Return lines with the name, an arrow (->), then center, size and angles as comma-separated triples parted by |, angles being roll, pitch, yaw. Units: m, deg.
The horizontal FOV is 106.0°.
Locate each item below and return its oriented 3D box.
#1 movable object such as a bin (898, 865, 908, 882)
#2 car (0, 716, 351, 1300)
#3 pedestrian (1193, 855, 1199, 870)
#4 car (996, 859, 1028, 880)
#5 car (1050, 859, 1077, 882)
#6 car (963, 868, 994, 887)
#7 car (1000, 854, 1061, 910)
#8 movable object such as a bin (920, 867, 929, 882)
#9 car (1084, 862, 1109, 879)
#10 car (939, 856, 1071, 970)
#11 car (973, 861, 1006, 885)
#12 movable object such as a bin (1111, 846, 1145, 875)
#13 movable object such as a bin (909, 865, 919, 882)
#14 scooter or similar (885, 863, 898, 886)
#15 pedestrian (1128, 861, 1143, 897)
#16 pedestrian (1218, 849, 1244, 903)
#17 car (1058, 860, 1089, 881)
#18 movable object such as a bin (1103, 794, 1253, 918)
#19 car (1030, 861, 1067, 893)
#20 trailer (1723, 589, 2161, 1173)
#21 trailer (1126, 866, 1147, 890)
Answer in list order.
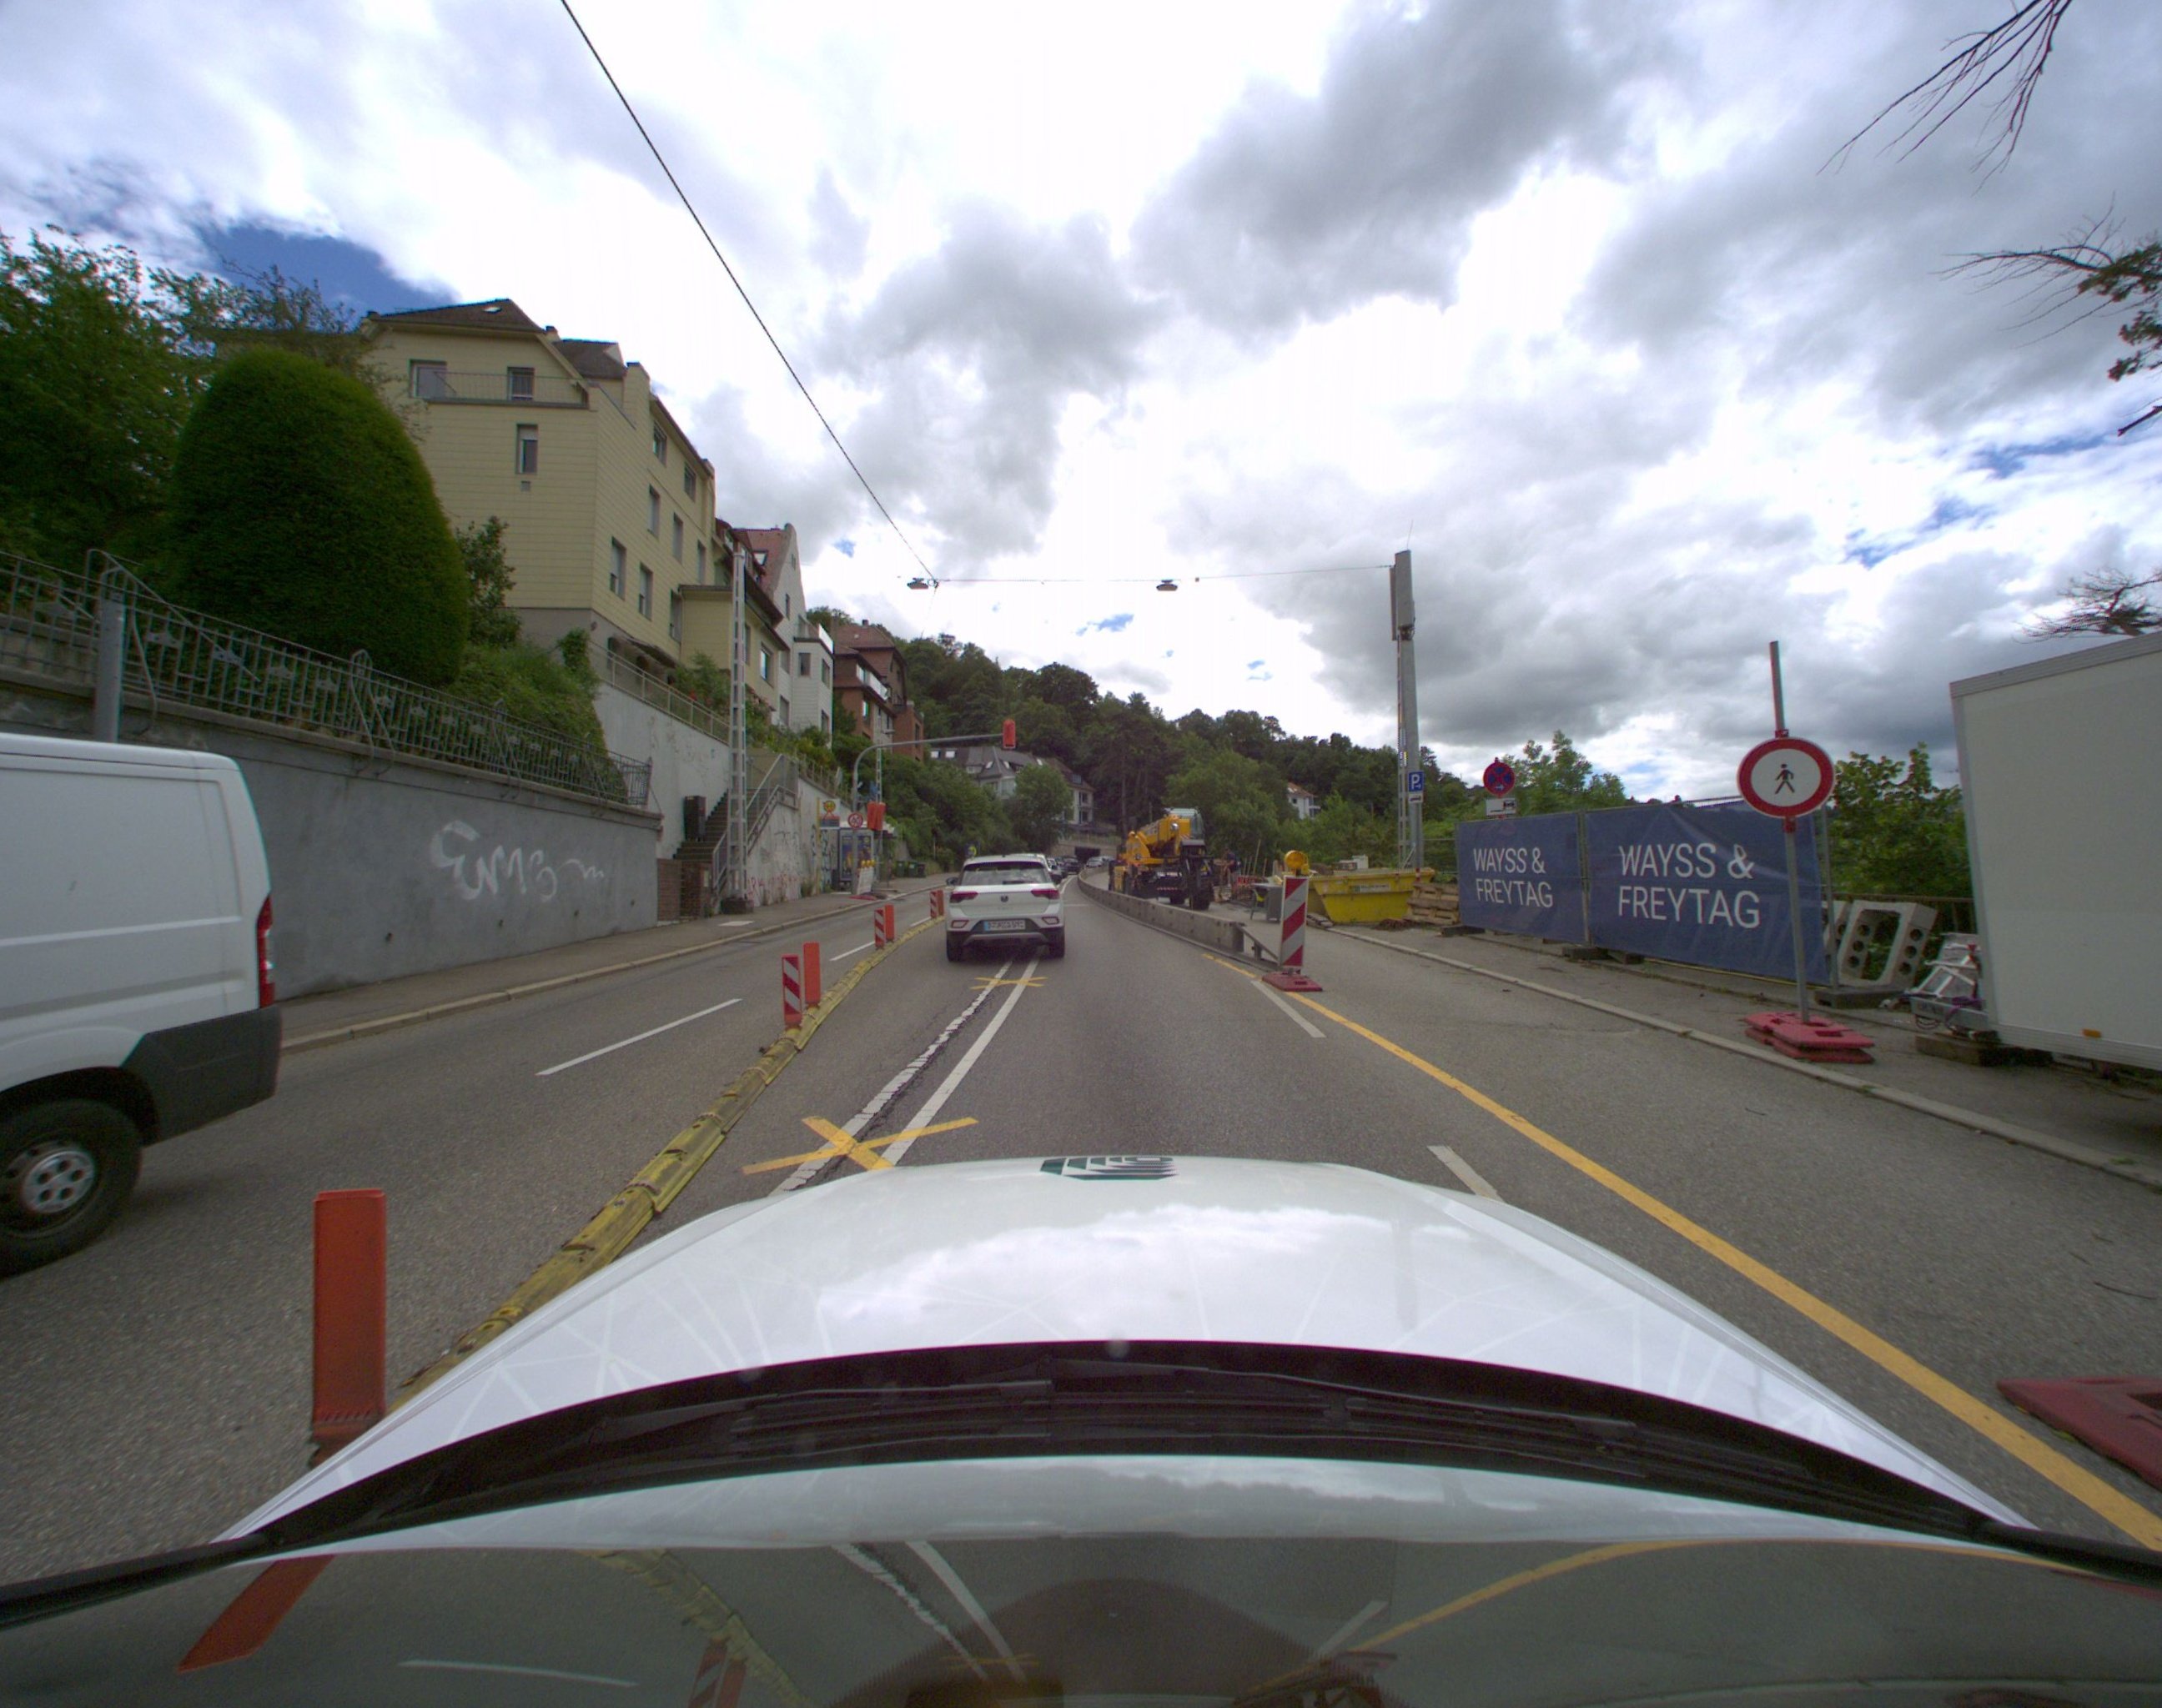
movable object such as a bin -> -11.008, 1.198, 50.363 | 0.466, 1.053, 0.624 | 1, -1, -2
car -> -5.077, 0.614, 2.006 | 2.061, 2.187, 4.959 | -3, -1, -2
pedestrian -> 14.679, 1.055, 104.332 | 0.686, 1.906, 0.827 | -2, -1, 8
car -> -5.472, 1.216, 64.930 | 1.833, 1.600, 4.268 | -1, -1, 4
car -> -1.218, 1.178, 58.642 | 1.788, 1.510, 3.999 | -2, -1, 0
car -> -8.569, 1.946, 68.100 | 1.786, 1.510, 4.004 | 1, -1, 4
car -> -1.641, 0.895, 27.146 | 1.805, 1.663, 3.996 | -2, -1, -3
movable object such as a bin -> -9.698, 1.268, 50.426 | 0.466, 0.934, 0.624 | 1, -1, -2
car -> 1.675, 1.681, 85.659 | 1.798, 1.663, 4.013 | -3, -1, 12
car -> -1.248, 0.867, 13.523 | 1.807, 1.531, 3.992 | -2, -1, -5
car -> -5.694, 1.169, 51.033 | 1.667, 1.430, 3.585 | -1, -1, -1
movable object such as a bin -> 4.548, 0.644, 77.530 | 2.195, 2.663, 4.965 | -1, -1, 16
movable object such as a bin -> -10.316, 1.209, 50.386 | 0.466, 1.053, 0.624 | 1, -1, -2
scooter or similar -> -10.514, 1.131, 45.136 | 0.458, 1.205, 1.433 | 1, -1, -4
pedestrian -> 2.579, 1.167, 38.553 | 0.643, 1.702, 0.849 | 0, -1, -2
pedestrian -> 5.090, 0.741, 27.691 | 0.690, 1.795, 0.537 | -1, -1, -14
car -> -0.629, 1.430, 70.680 | 1.798, 1.663, 4.013 | -3, -1, 12
movable object such as a bin -> 2.536, 0.096, 24.160 | 2.807, 3.071, 7.807 | 0, -1, -6
car -> -1.794, 1.285, 45.999 | 1.804, 1.663, 4.000 | -2, -1, 0
trailer -> 5.751, 0.075, 3.395 | 2.099, 2.550, 5.121 | -3, -1, 2
trailer -> 3.603, 1.496, 52.493 | 1.282, 1.475, 3.638 | -1, -1, 5
